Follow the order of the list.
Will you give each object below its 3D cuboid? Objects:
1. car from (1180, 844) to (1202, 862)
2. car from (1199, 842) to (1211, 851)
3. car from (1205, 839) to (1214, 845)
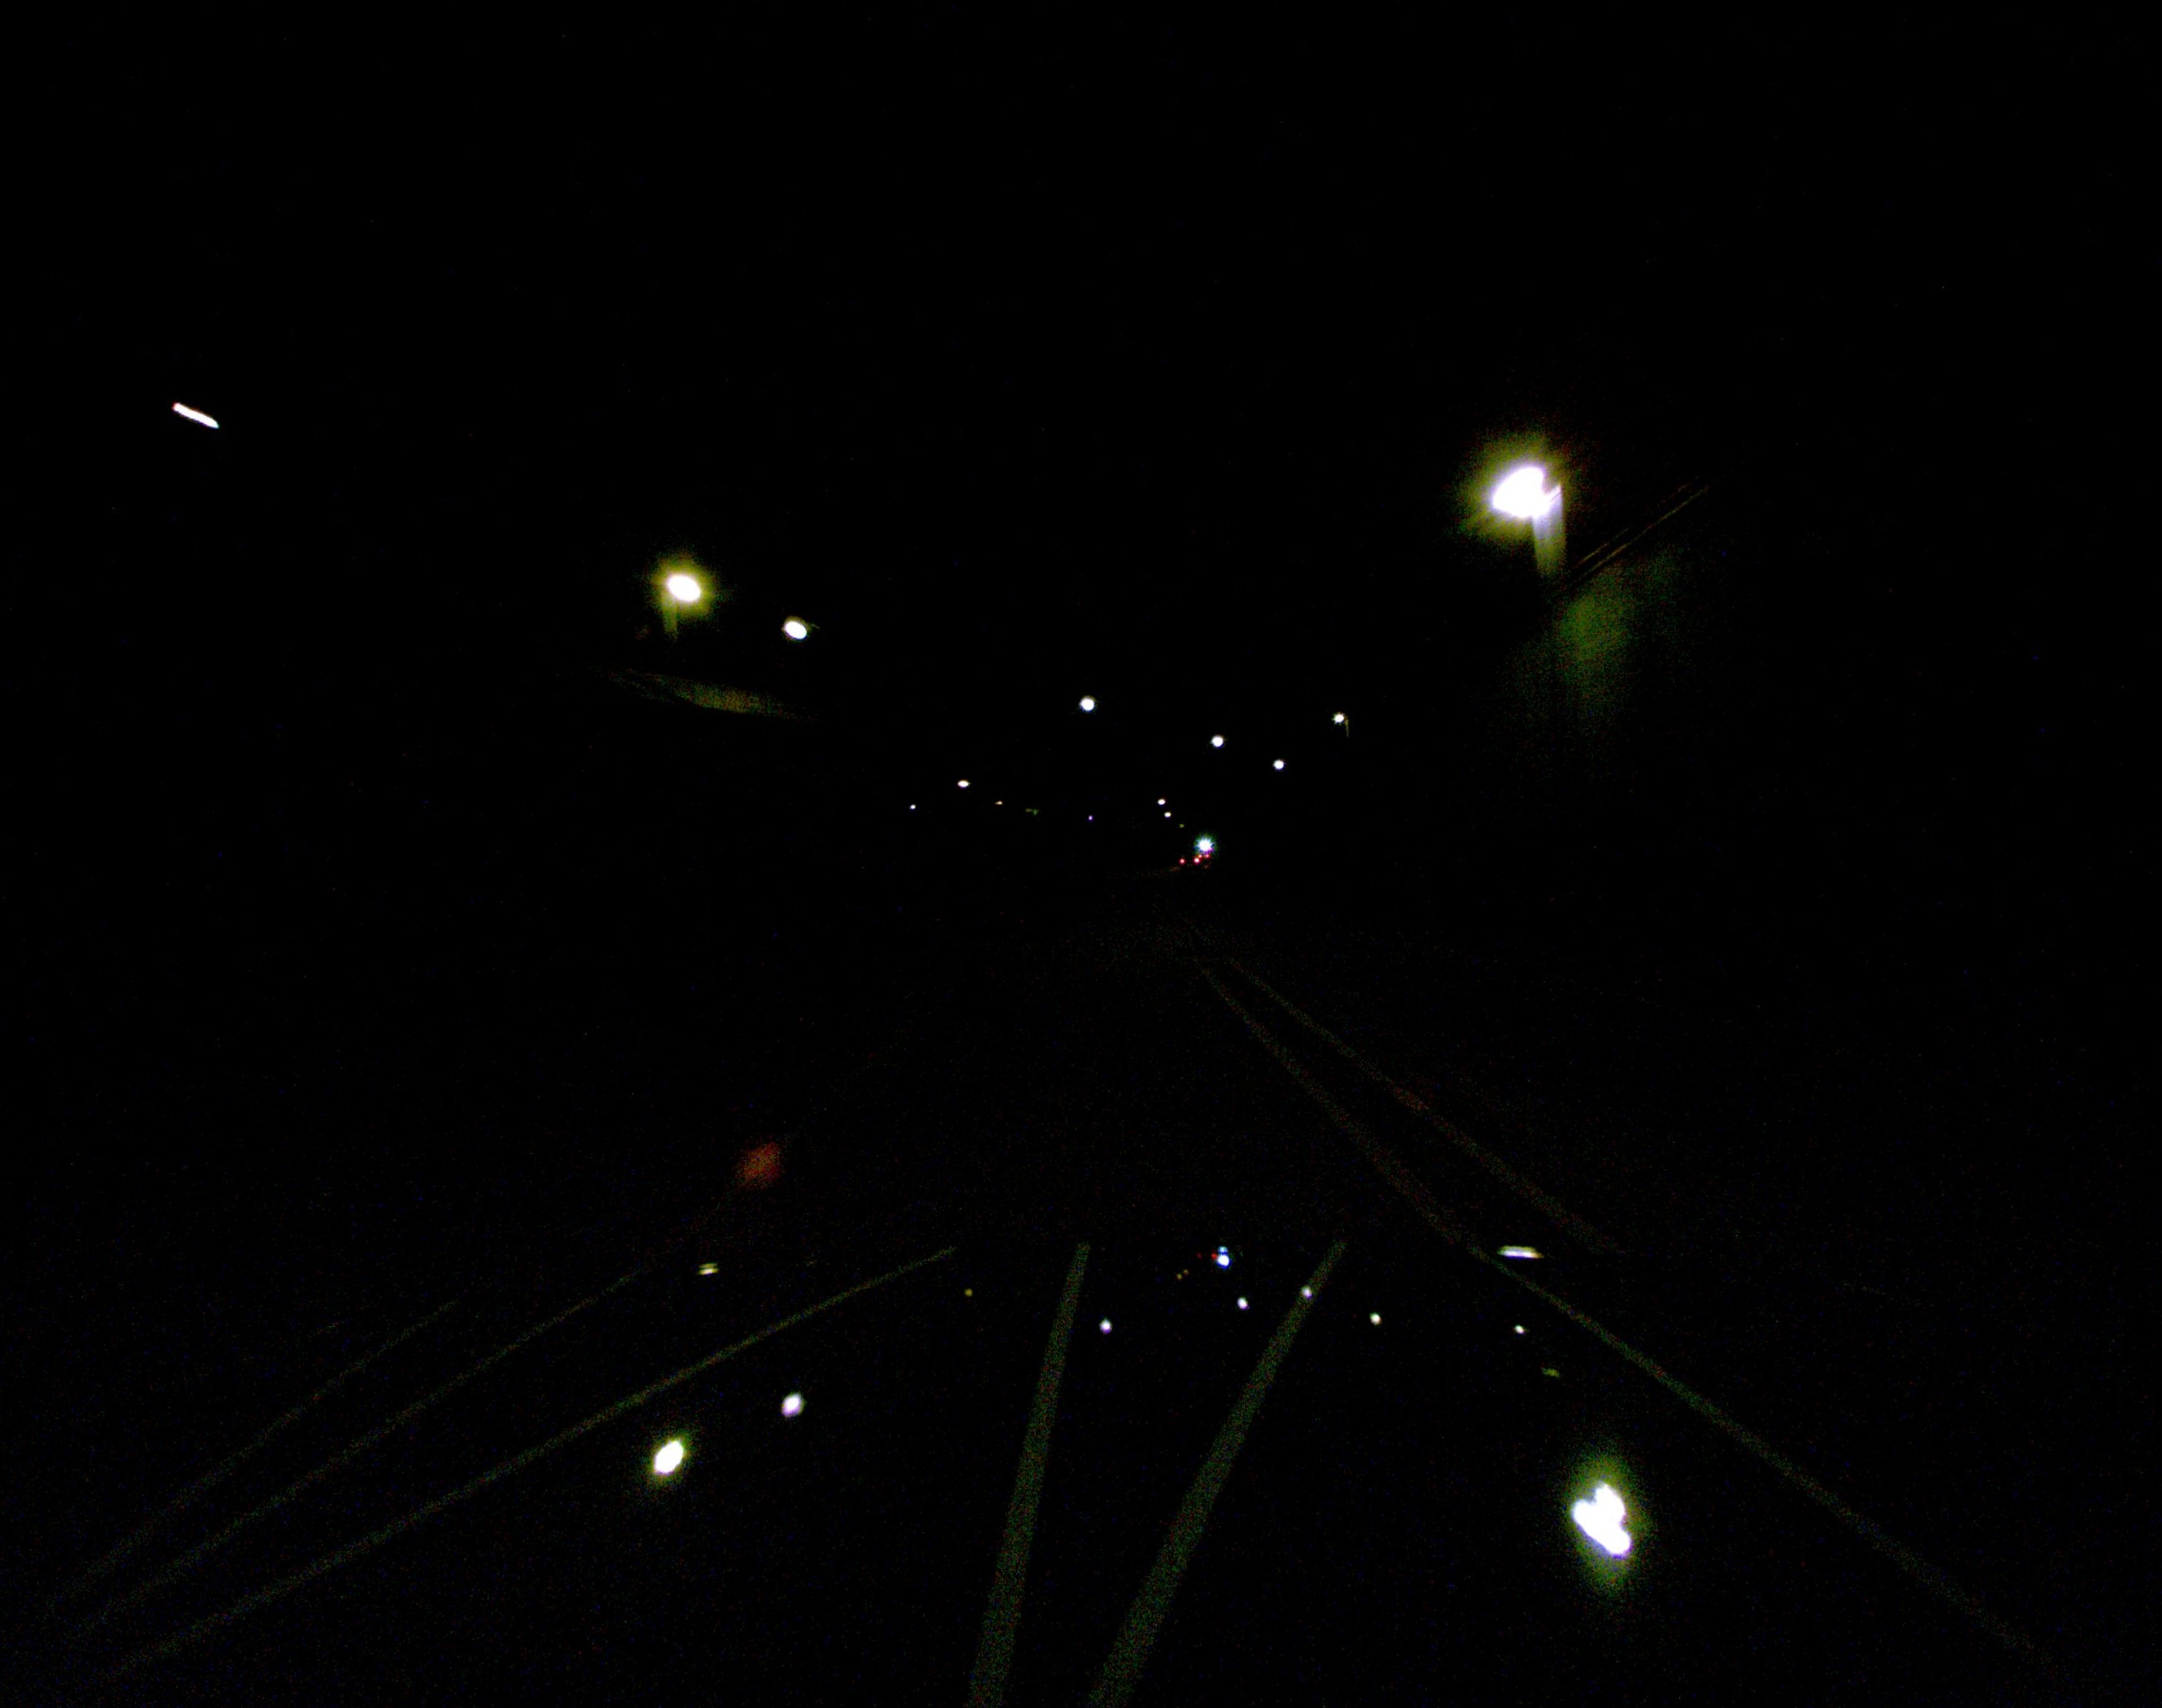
[{"bbox_3d":[10.134,-0.095,70.139,1.862,1.501,4.002,-3,1,9],"label":"car"},{"bbox_3d":[22.628,-1.442,138.692,1.791,1.439,4.174,-5,1,12],"label":"car"},{"bbox_3d":[34.047,-3.163,200.942,1.884,1.545,4.221,-4,1,16],"label":"car"}]
